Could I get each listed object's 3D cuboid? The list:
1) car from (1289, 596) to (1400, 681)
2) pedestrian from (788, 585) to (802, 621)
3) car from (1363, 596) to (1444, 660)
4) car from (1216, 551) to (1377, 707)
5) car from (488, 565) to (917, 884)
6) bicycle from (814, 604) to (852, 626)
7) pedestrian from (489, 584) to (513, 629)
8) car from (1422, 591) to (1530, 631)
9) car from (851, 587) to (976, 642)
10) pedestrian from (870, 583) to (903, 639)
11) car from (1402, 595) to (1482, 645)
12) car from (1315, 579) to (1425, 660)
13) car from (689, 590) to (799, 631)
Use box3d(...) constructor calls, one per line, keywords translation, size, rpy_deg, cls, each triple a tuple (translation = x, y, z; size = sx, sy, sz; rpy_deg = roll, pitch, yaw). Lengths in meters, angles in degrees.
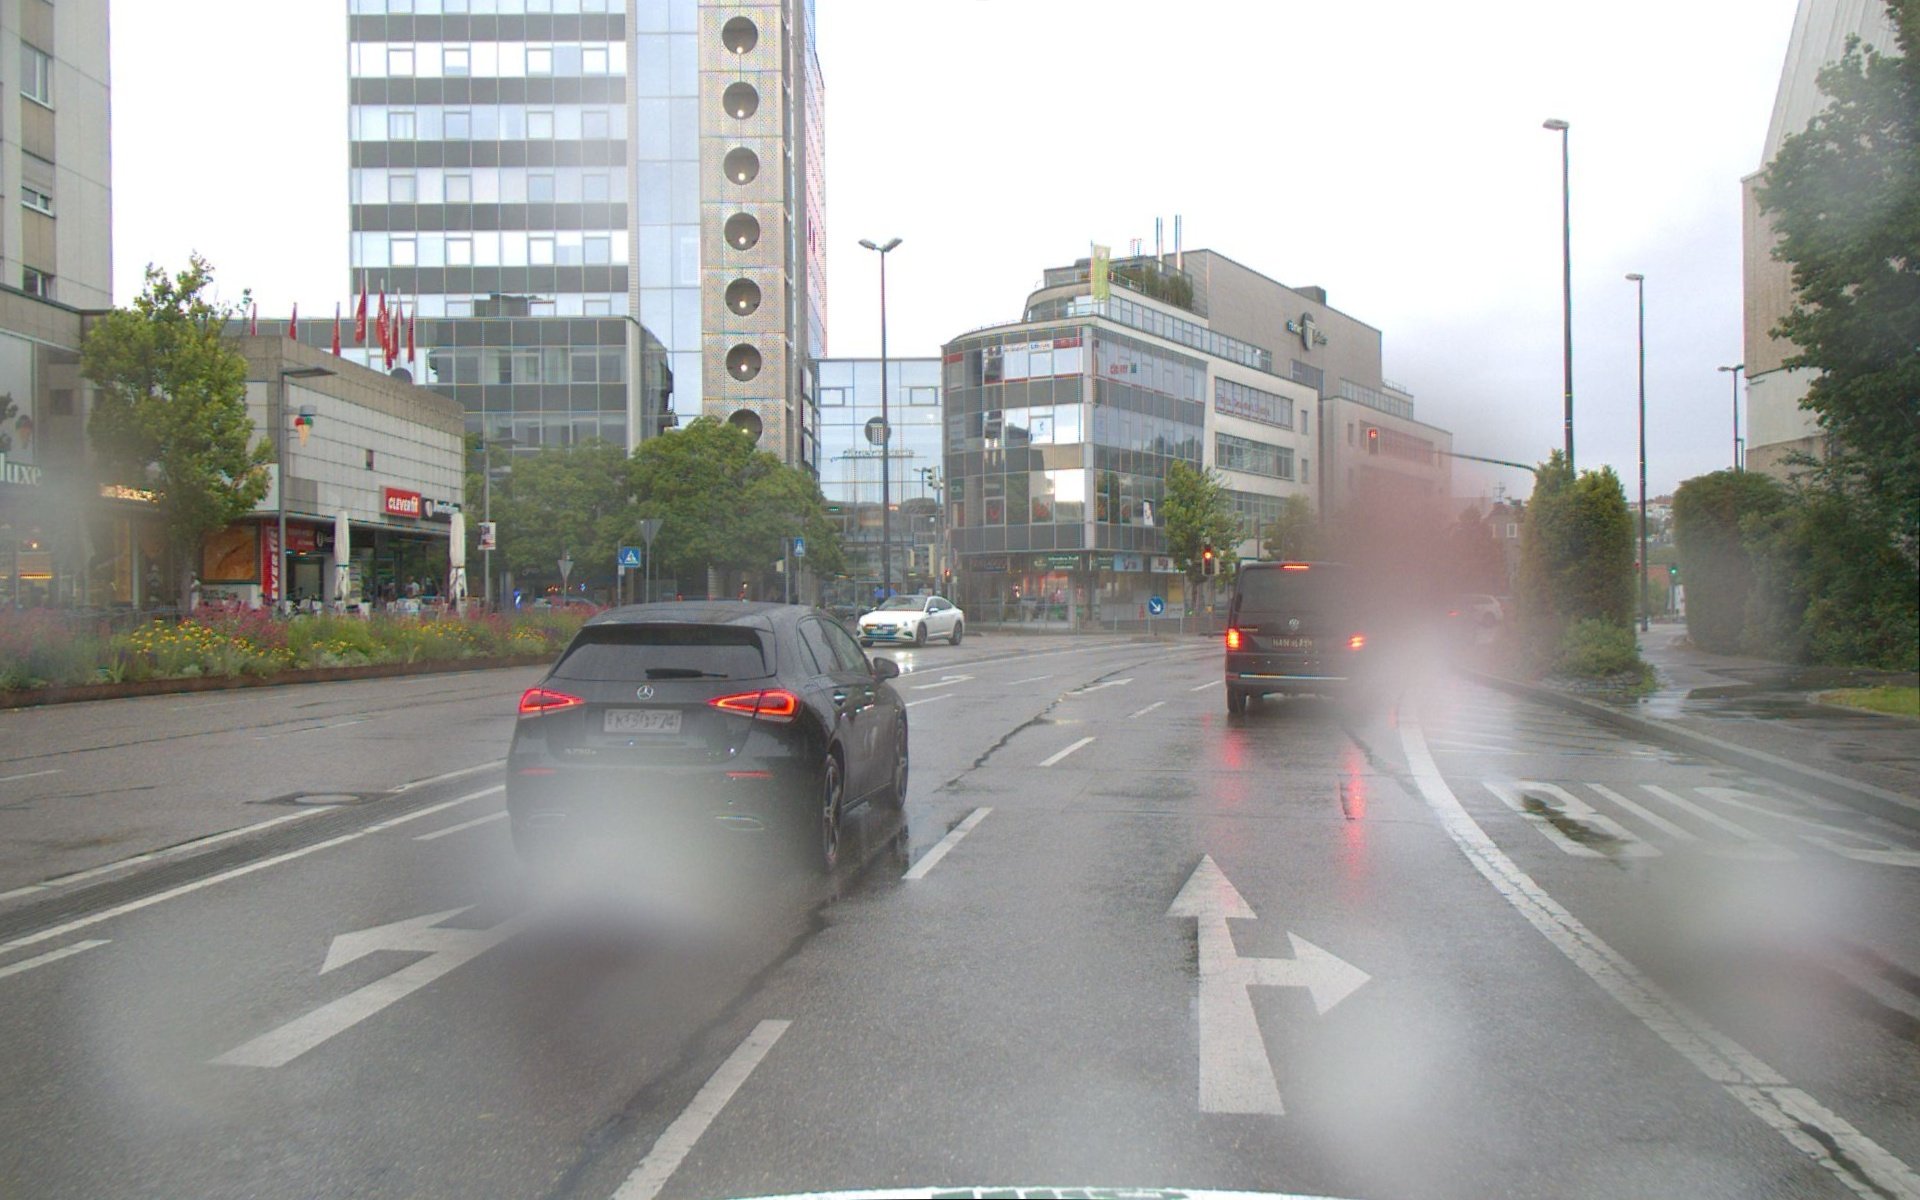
box3d(translation=(7.040, 0.647, 30.015), size=(1.597, 1.410, 4.517), rpy_deg=(0, 0, 18), cls="car")
box3d(translation=(-9.224, 0.173, 92.562), size=(0.747, 2.049, 0.714), rpy_deg=(0, 0, -2), cls="pedestrian")
box3d(translation=(11.475, 0.671, 42.654), size=(1.600, 1.473, 4.269), rpy_deg=(1, 1, 21), cls="car")
box3d(translation=(4.714, 0.366, 22.872), size=(1.953, 1.927, 4.590), rpy_deg=(0, 0, 13), cls="car")
box3d(translation=(-1.356, 0.601, 10.244), size=(1.777, 1.556, 3.815), rpy_deg=(1, 1, 4), cls="car")
box3d(translation=(-7.575, 0.906, 98.489), size=(2.227, 1.268, 0.676), rpy_deg=(-1, -1, -2), cls="bicycle")
box3d(translation=(-14.200, 0.203, 51.218), size=(0.487, 1.371, 0.535), rpy_deg=(0, 0, 36), cls="pedestrian")
box3d(translation=(22.904, 0.493, 73.380), size=(4.428, 1.712, 1.879), rpy_deg=(0, 0, -22), cls="car")
box3d(translation=(-1.264, 0.405, 47.465), size=(1.804, 1.486, 4.808), rpy_deg=(0, 0, 22), cls="car")
box3d(translation=(-2.736, 0.396, 61.457), size=(1.140, 2.049, 1.326), rpy_deg=(0, 0, -7), cls="pedestrian")
box3d(translation=(14.192, 0.574, 48.613), size=(1.873, 1.425, 3.457), rpy_deg=(-1, 0, 23), cls="car")
box3d(translation=(9.070, 0.397, 36.368), size=(1.862, 1.649, 4.336), rpy_deg=(0, 0, 21), cls="car")
box3d(translation=(-8.782, 0.427, 67.490), size=(4.103, 1.623, 1.871), rpy_deg=(0, 0, 7), cls="car")
